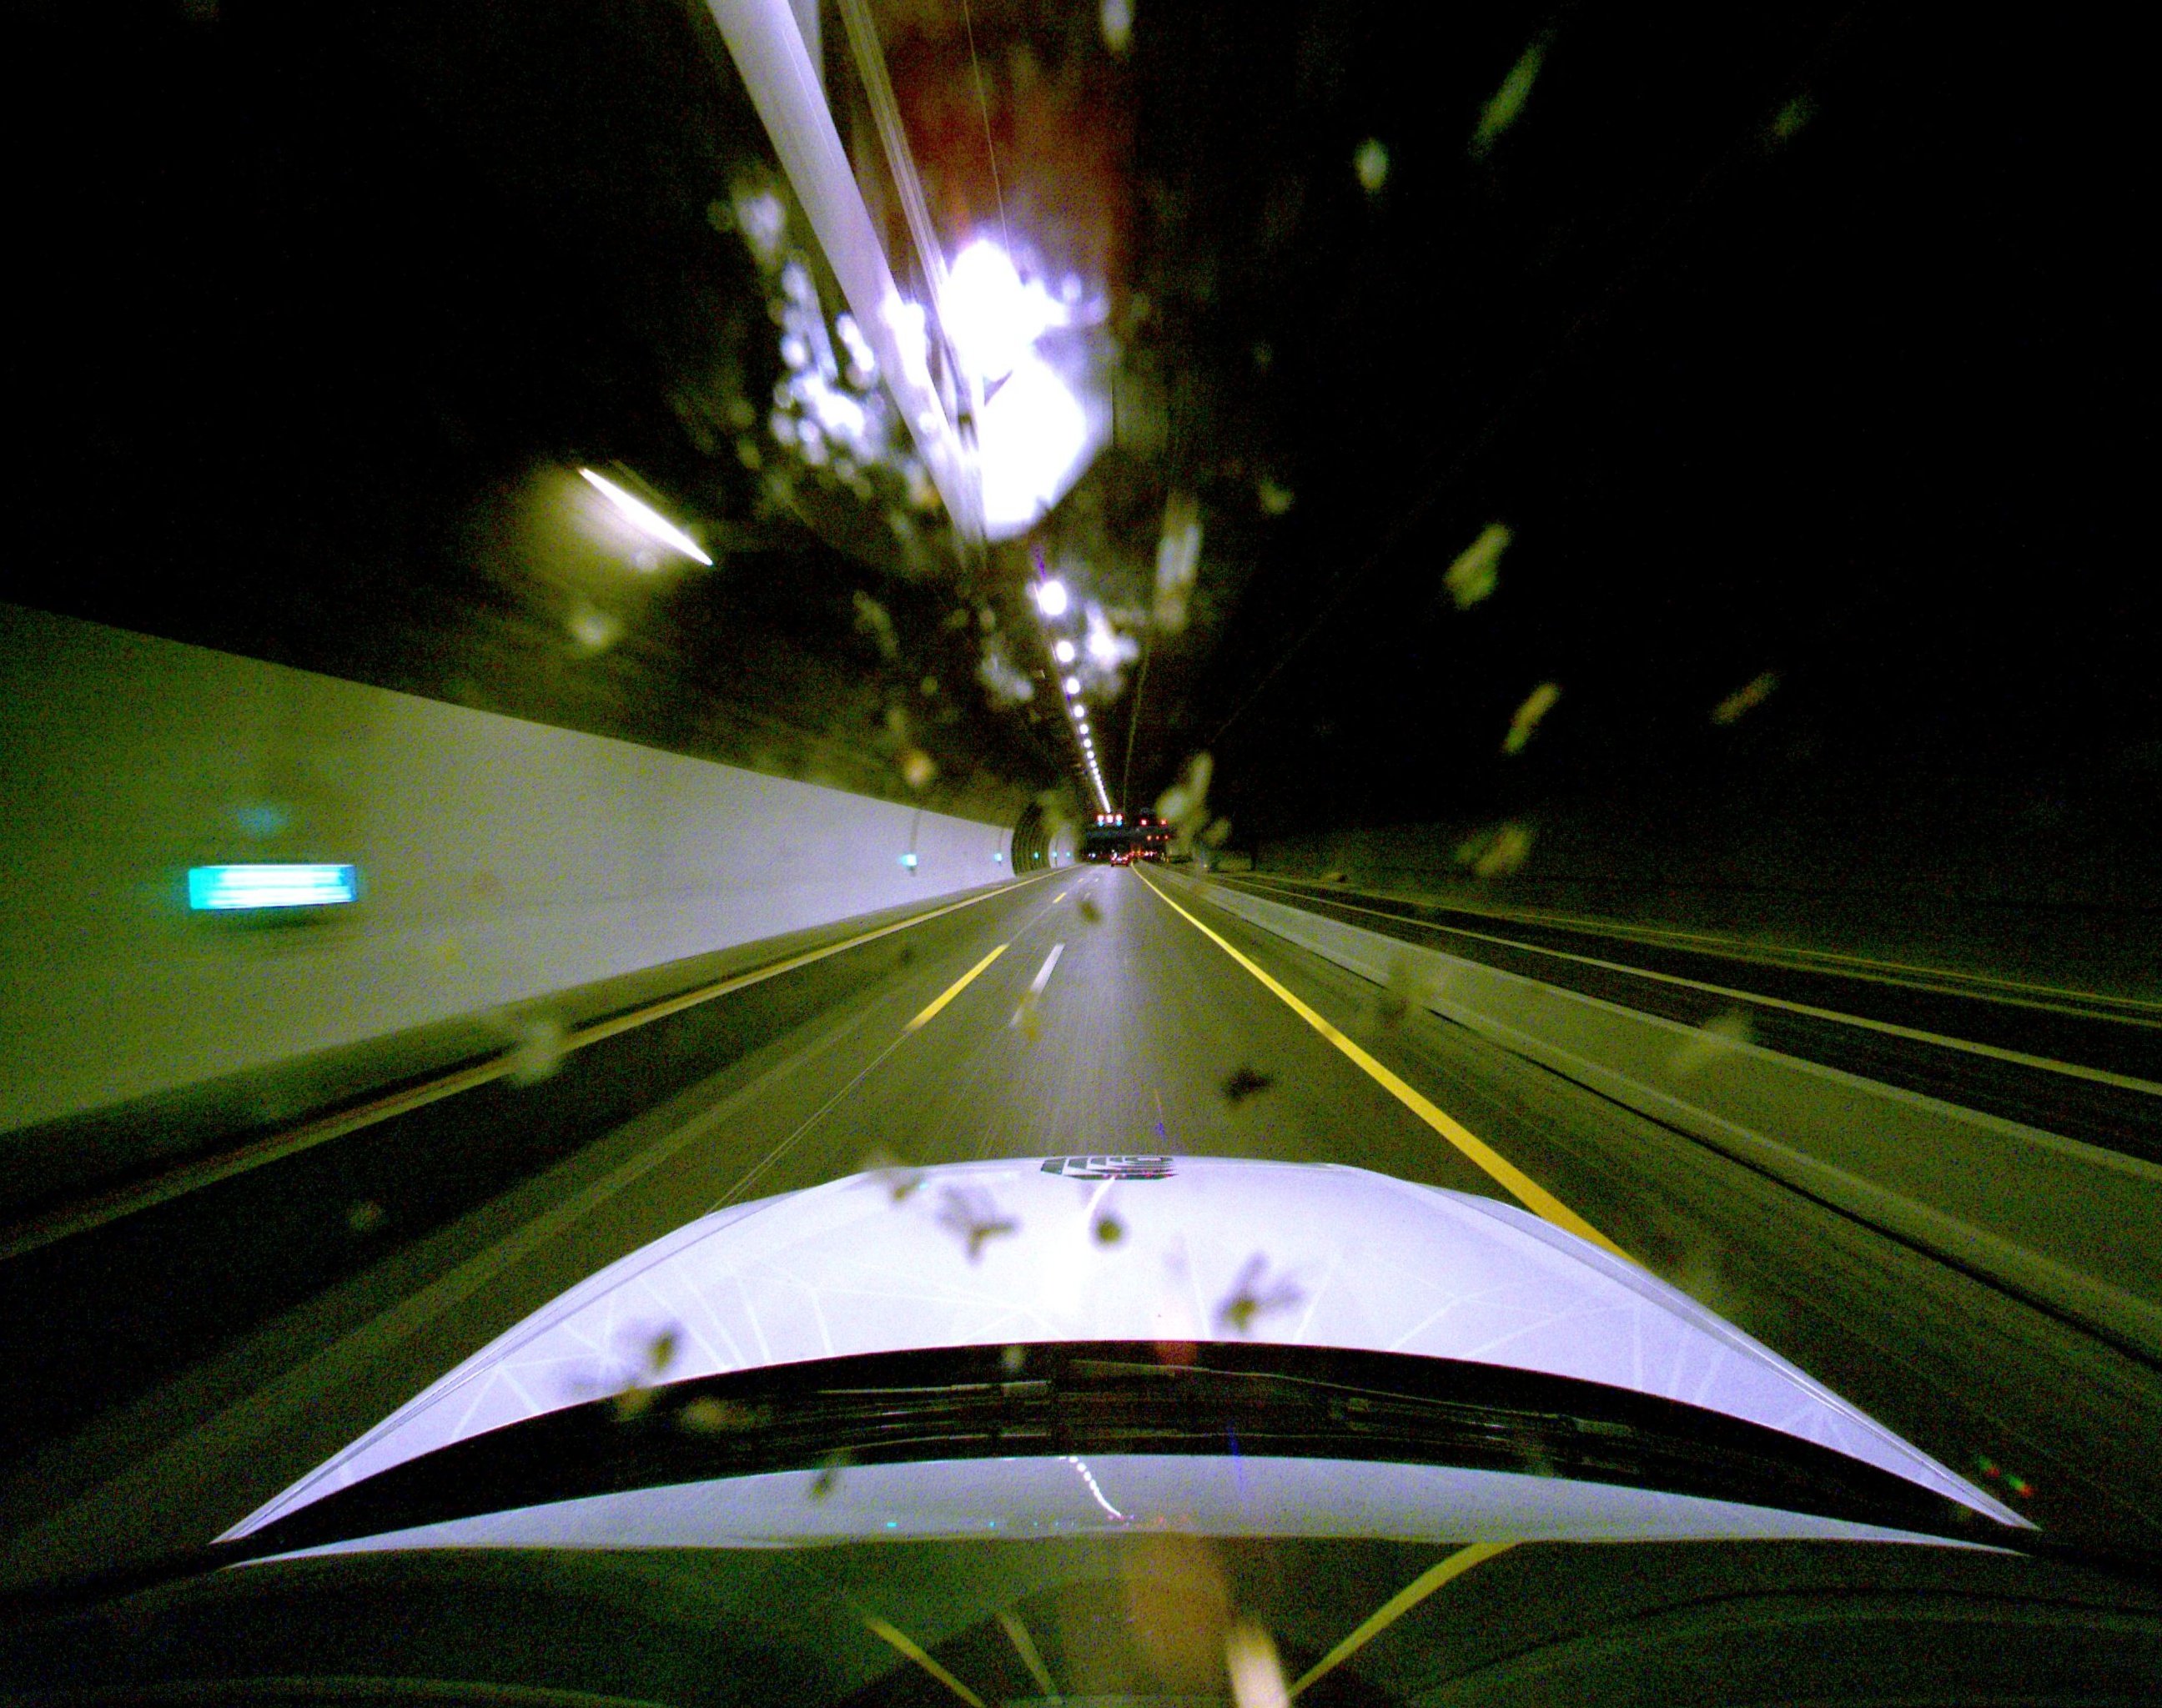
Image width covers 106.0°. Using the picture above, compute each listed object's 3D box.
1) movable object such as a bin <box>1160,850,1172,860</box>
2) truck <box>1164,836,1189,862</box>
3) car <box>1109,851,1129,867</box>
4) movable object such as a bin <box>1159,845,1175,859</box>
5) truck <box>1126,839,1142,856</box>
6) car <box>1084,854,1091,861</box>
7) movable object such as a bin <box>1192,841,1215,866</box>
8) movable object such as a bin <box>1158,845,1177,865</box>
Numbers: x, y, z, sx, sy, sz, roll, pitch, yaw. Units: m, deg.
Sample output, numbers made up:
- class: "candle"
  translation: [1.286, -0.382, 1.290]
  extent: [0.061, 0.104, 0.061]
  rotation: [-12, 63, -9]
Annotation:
- class: "movable object such as a bin"
  translation: [14.972, 0.175, 143.511]
  extent: [1.970, 1.816, 3.839]
  rotation: [-1, 0, 3]
- class: "truck"
  translation: [12.888, -0.653, 110.346]
  extent: [2.880, 3.272, 8.407]
  rotation: [-1, 0, 3]
- class: "car"
  translation: [4.065, 0.510, 87.523]
  extent: [1.882, 1.607, 3.999]
  rotation: [-1, 0, 0]
- class: "movable object such as a bin"
  translation: [16.413, -0.354, 156.173]
  extent: [2.725, 2.754, 7.057]
  rotation: [-1, 0, 4]
- class: "truck"
  translation: [16.227, -1.890, 248.087]
  extent: [4.525, 4.987, 9.609]
  rotation: [-1, 0, 4]
- class: "car"
  translation: [2.011, 1.119, 261.746]
  extent: [1.985, 2.014, 4.003]
  rotation: [-1, 0, 3]
- class: "movable object such as a bin"
  translation: [12.592, -0.049, 83.717]
  extent: [1.749, 2.380, 4.002]
  rotation: [-4, 0, 2]
- class: "movable object such as a bin"
  translation: [12.652, 0.143, 119.470]
  extent: [2.229, 2.794, 7.238]
  rotation: [-1, 0, 3]
